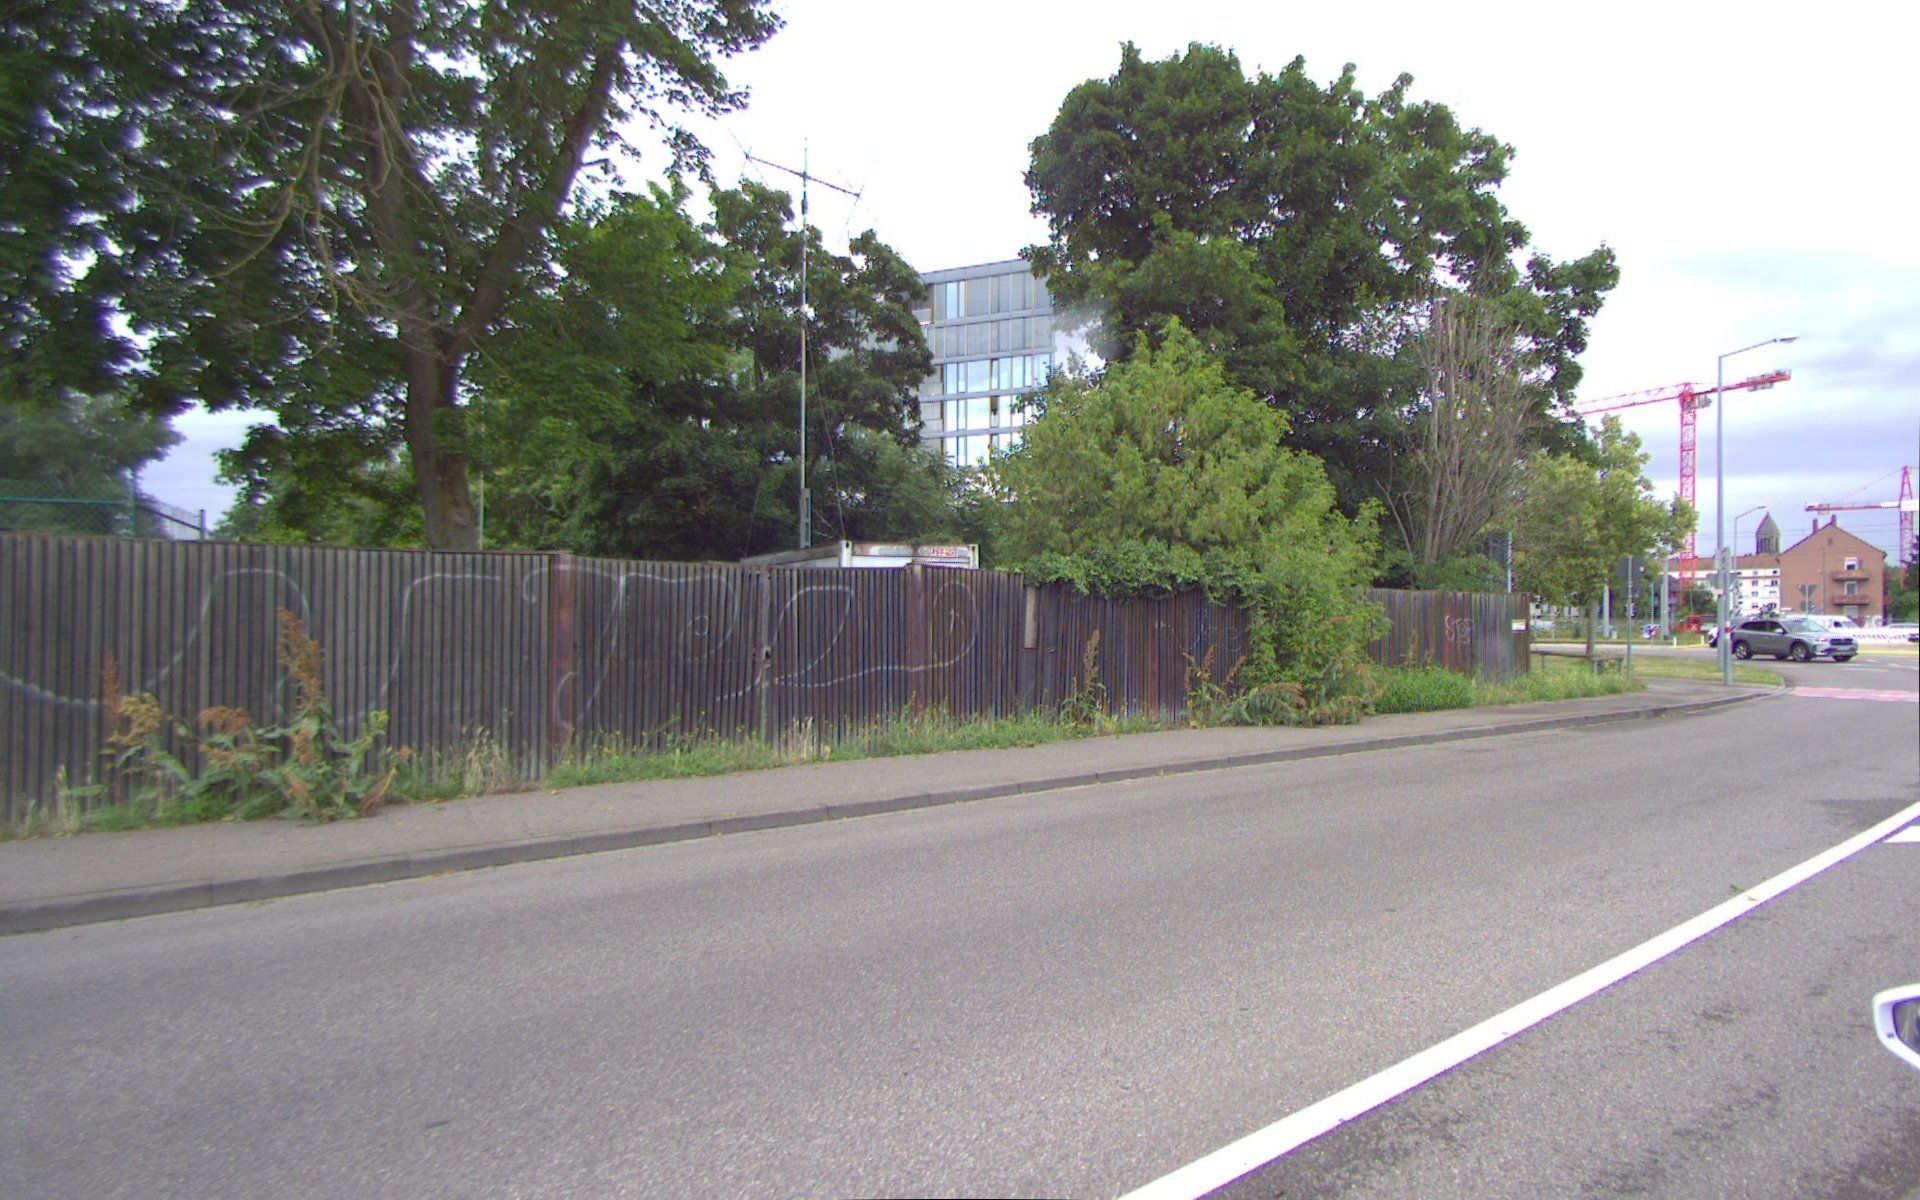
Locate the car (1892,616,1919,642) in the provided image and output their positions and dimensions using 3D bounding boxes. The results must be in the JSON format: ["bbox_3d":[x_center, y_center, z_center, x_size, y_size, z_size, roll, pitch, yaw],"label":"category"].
[{"bbox_3d":[61.440,1.800,62.602,4.580,1.656,2.001,0,-1,8],"label":"car"}]

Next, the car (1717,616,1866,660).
[{"bbox_3d":[32.210,1.436,39.130,1.961,1.604,4.531,0,-1,-2],"label":"car"}]

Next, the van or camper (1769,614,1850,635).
[{"bbox_3d":[86.040,2.474,101.880,1.969,2.040,6.171,0,-1,-19],"label":"van or camper"}]

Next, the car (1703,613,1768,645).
[{"bbox_3d":[43.455,1.598,56.259,4.152,1.706,1.916,1,-1,-38],"label":"car"}]
